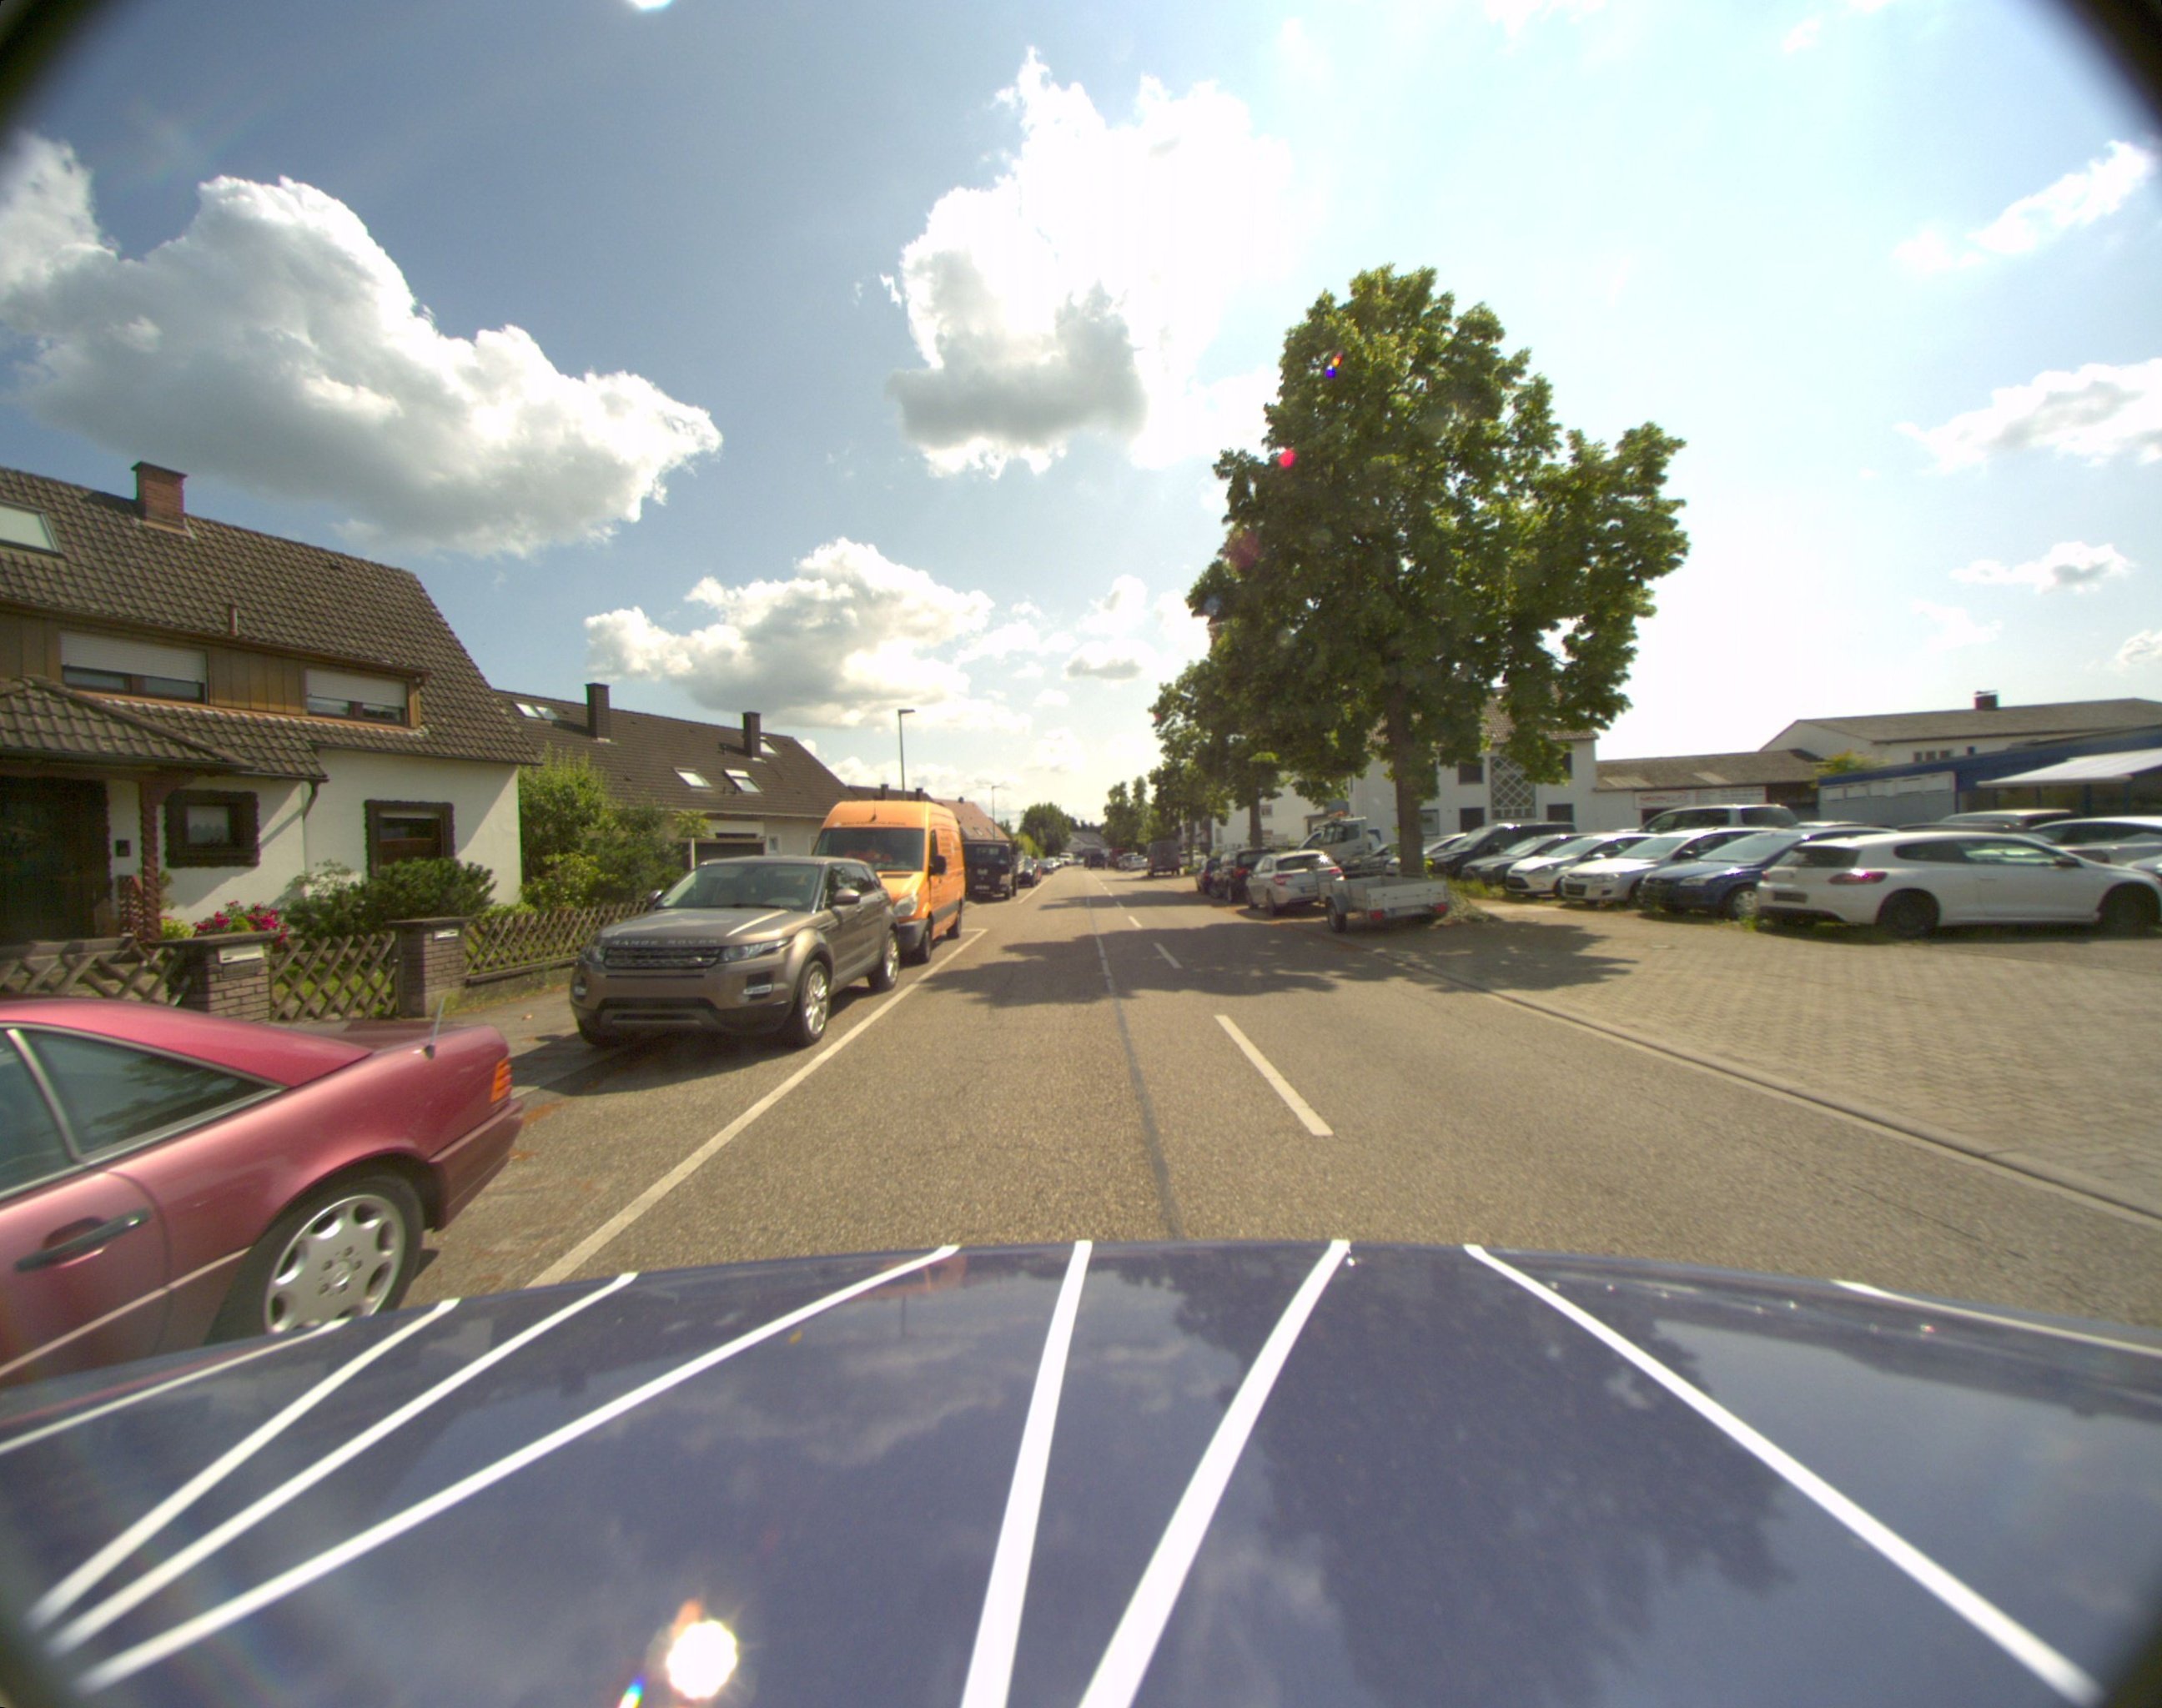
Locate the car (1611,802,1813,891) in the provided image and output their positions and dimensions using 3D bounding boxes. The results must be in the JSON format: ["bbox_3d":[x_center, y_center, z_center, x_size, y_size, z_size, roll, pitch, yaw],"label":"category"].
[{"bbox_3d":[15.898,-0.176,19.452,1.715,2.002,3.999,-2,0,-3],"label":"car"}]

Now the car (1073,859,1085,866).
[{"bbox_3d":[-0.363,1.720,153.045,1.818,1.513,4.267,-1,0,6],"label":"car"}]

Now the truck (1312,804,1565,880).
[{"bbox_3d":[14.820,-0.474,32.090,9.278,2.839,2.721,-1,0,4],"label":"truck"}]

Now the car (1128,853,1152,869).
[{"bbox_3d":[5.868,0.745,76.344,1.753,1.452,4.708,-5,-1,-3],"label":"car"}]

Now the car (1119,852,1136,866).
[{"bbox_3d":[5.369,0.573,88.030,1.626,1.461,3.925,-4,1,1],"label":"car"}]

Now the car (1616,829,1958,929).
[{"bbox_3d":[11.797,0.388,12.935,4.036,1.481,1.827,-2,1,3],"label":"car"}]

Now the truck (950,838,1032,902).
[{"bbox_3d":[-3.473,0.586,30.650,2.528,2.286,5.895,1,0,0],"label":"truck"}]

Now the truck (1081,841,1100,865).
[{"bbox_3d":[1.434,-0.149,119.164,2.780,3.478,5.880,-2,0,-1],"label":"truck"}]

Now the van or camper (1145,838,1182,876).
[{"bbox_3d":[5.649,0.197,52.844,1.998,2.303,5.934,-5,0,2],"label":"van or camper"}]

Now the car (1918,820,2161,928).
[{"bbox_3d":[18.031,0.272,13.743,1.714,1.686,4.002,-2,0,8],"label":"car"}]

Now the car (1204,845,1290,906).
[{"bbox_3d":[5.291,0.640,24.804,1.697,1.690,4.400,-4,0,-1],"label":"car"}]

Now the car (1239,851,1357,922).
[{"bbox_3d":[5.419,0.746,19.571,1.837,1.519,4.237,-4,0,2],"label":"car"}]

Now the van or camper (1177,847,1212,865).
[{"bbox_3d":[11.519,0.175,76.946,1.776,1.534,4.007,-3,0,35],"label":"van or camper"}]

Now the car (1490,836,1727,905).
[{"bbox_3d":[12.067,0.351,17.601,4.154,1.422,1.827,-2,1,3],"label":"car"}]

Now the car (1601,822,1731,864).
[{"bbox_3d":[27.899,-0.535,36.374,4.487,1.782,2.001,-2,2,13],"label":"car"}]

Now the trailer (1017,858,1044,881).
[{"bbox_3d":[-3.371,1.008,51.644,1.612,1.370,4.431,-3,0,-2],"label":"trailer"}]

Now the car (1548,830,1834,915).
[{"bbox_3d":[11.952,0.343,15.123,4.154,1.481,1.827,-2,1,3],"label":"car"}]

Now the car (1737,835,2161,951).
[{"bbox_3d":[11.845,0.487,10.408,4.035,1.366,1.827,-2,1,5],"label":"car"}]

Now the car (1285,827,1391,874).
[{"bbox_3d":[13.411,-0.209,39.953,5.008,2.219,2.001,-2,2,13],"label":"car"}]

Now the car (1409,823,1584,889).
[{"bbox_3d":[12.164,0.046,22.465,4.154,1.778,1.827,-2,1,3],"label":"car"}]

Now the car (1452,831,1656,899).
[{"bbox_3d":[12.247,0.264,19.883,4.154,1.609,1.827,-2,1,3],"label":"car"}]

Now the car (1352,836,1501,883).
[{"bbox_3d":[12.373,0.195,27.445,4.536,1.573,1.827,-1,0,2],"label":"car"}]

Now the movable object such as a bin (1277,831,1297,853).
[{"bbox_3d":[15.353,-0.871,56.608,1.311,1.422,1.606,-2,-6,16],"label":"movable object such as a bin"}]

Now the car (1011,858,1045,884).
[{"bbox_3d":[-3.202,1.022,46.503,1.689,1.427,4.146,-2,0,1],"label":"car"}]

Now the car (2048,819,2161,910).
[{"bbox_3d":[20.219,0.161,13.333,1.714,1.628,4.002,-2,0,8],"label":"car"}]

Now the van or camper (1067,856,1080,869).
[{"bbox_3d":[-1.416,1.573,139.400,1.973,2.345,5.760,-1,0,3],"label":"van or camper"}]

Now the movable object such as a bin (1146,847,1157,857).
[{"bbox_3d":[10.395,-0.339,112.046,1.299,1.377,1.291,-3,0,-6],"label":"movable object such as a bin"}]

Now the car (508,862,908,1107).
[{"bbox_3d":[-3.142,0.957,7.549,1.837,1.630,4.239,-2,0,0],"label":"car"}]

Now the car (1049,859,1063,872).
[{"bbox_3d":[-3.464,1.601,107.250,1.896,1.763,4.708,-2,0,-1],"label":"car"}]

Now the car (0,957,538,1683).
[{"bbox_3d":[-3.162,1.139,1.000,1.673,1.327,4.437,-2,0,0],"label":"car"}]

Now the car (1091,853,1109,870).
[{"bbox_3d":[2.332,0.914,94.755,2.056,2.022,5.141,0,0,0],"label":"car"}]

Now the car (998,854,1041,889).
[{"bbox_3d":[-3.252,0.886,40.727,1.834,1.652,4.553,-2,0,0],"label":"car"}]

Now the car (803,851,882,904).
[{"bbox_3d":[-9.281,0.860,30.022,1.862,1.855,5.018,-2,0,-5],"label":"car"}]

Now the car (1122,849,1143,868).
[{"bbox_3d":[5.562,0.496,82.258,1.814,1.795,4.490,-5,0,-1],"label":"car"}]

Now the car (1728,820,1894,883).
[{"bbox_3d":[22.649,-0.083,23.802,1.645,1.746,3.924,-2,0,6],"label":"car"}]

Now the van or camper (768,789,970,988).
[{"bbox_3d":[-3.320,0.466,13.289,1.999,2.648,5.768,-2,0,-2],"label":"van or camper"}]

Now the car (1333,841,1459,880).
[{"bbox_3d":[12.296,0.247,29.836,4.207,1.450,1.678,-1,0,2],"label":"car"}]

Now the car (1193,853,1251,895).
[{"bbox_3d":[5.475,0.739,29.945,1.703,1.475,4.160,-2,0,4],"label":"car"}]

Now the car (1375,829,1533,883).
[{"bbox_3d":[12.238,0.060,25.111,4.306,1.605,1.827,-2,0,-1],"label":"car"}]

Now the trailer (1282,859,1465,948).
[{"bbox_3d":[5.448,0.845,14.851,1.766,1.282,4.507,-5,0,0],"label":"trailer"}]

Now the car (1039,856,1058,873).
[{"bbox_3d":[-3.174,0.991,74.172,1.748,1.541,4.120,-1,0,-2],"label":"car"}]

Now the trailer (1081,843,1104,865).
[{"bbox_3d":[1.670,-0.036,115.103,2.842,3.051,8.887,-2,0,-2],"label":"trailer"}]

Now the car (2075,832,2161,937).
[{"bbox_3d":[16.224,0.368,9.901,3.837,1.372,1.795,-2,1,8],"label":"car"}]
